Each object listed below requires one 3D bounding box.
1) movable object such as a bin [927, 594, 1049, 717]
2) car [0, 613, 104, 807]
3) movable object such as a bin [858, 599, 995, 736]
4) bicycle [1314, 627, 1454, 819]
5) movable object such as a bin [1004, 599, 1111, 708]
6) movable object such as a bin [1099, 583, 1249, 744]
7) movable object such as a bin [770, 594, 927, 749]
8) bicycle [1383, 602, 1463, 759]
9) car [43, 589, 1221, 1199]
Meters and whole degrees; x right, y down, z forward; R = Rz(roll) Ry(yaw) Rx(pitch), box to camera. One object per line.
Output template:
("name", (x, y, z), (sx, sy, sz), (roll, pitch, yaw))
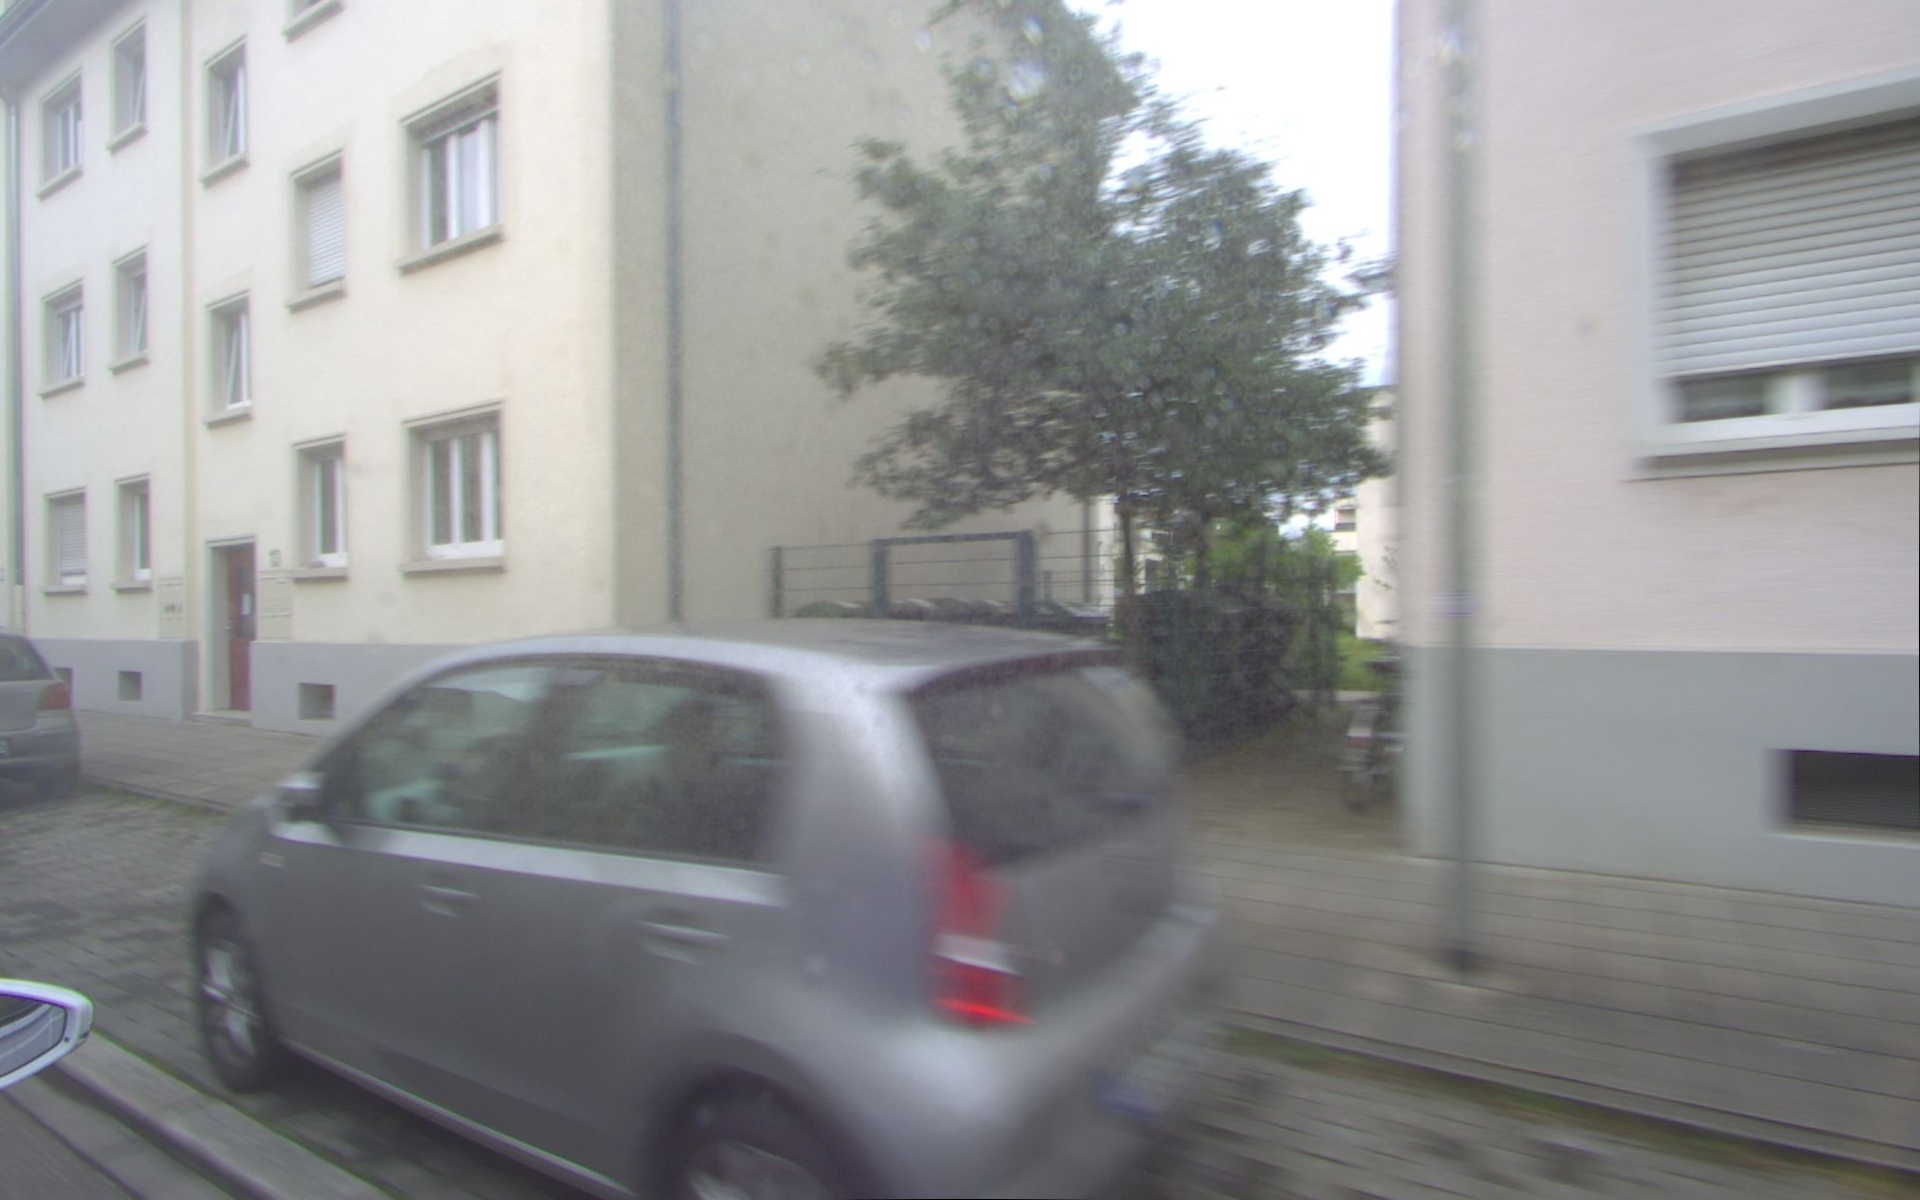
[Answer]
("movable object such as a bin", (0.363, 0.673, 12.727), (1.133, 1.463, 1.159), (0, 0, 32))
("car", (-9.429, 0.893, 8.859), (4.002, 1.537, 1.722), (-1, 0, 32))
("movable object such as a bin", (-0.371, 0.731, 11.460), (1.133, 1.463, 1.159), (0, 0, 32))
("bicycle", (3.139, 0.789, 7.289), (0.639, 1.091, 2.203), (0, 1, 31))
("movable object such as a bin", (1.394, 0.726, 14.238), (1.133, 1.463, 1.159), (0, 0, 32))
("movable object such as a bin", (2.126, 0.590, 9.896), (1.133, 1.463, 1.159), (0, 0, 32))
("movable object such as a bin", (-1.129, 0.688, 10.246), (1.133, 1.463, 1.159), (0, 0, 32))
("bicycle", (4.252, 0.687, 9.150), (0.589, 1.299, 1.614), (0, -1, 28))
("car", (-1.325, 0.773, 3.450), (4.002, 1.511, 1.722), (-1, -1, 32))
